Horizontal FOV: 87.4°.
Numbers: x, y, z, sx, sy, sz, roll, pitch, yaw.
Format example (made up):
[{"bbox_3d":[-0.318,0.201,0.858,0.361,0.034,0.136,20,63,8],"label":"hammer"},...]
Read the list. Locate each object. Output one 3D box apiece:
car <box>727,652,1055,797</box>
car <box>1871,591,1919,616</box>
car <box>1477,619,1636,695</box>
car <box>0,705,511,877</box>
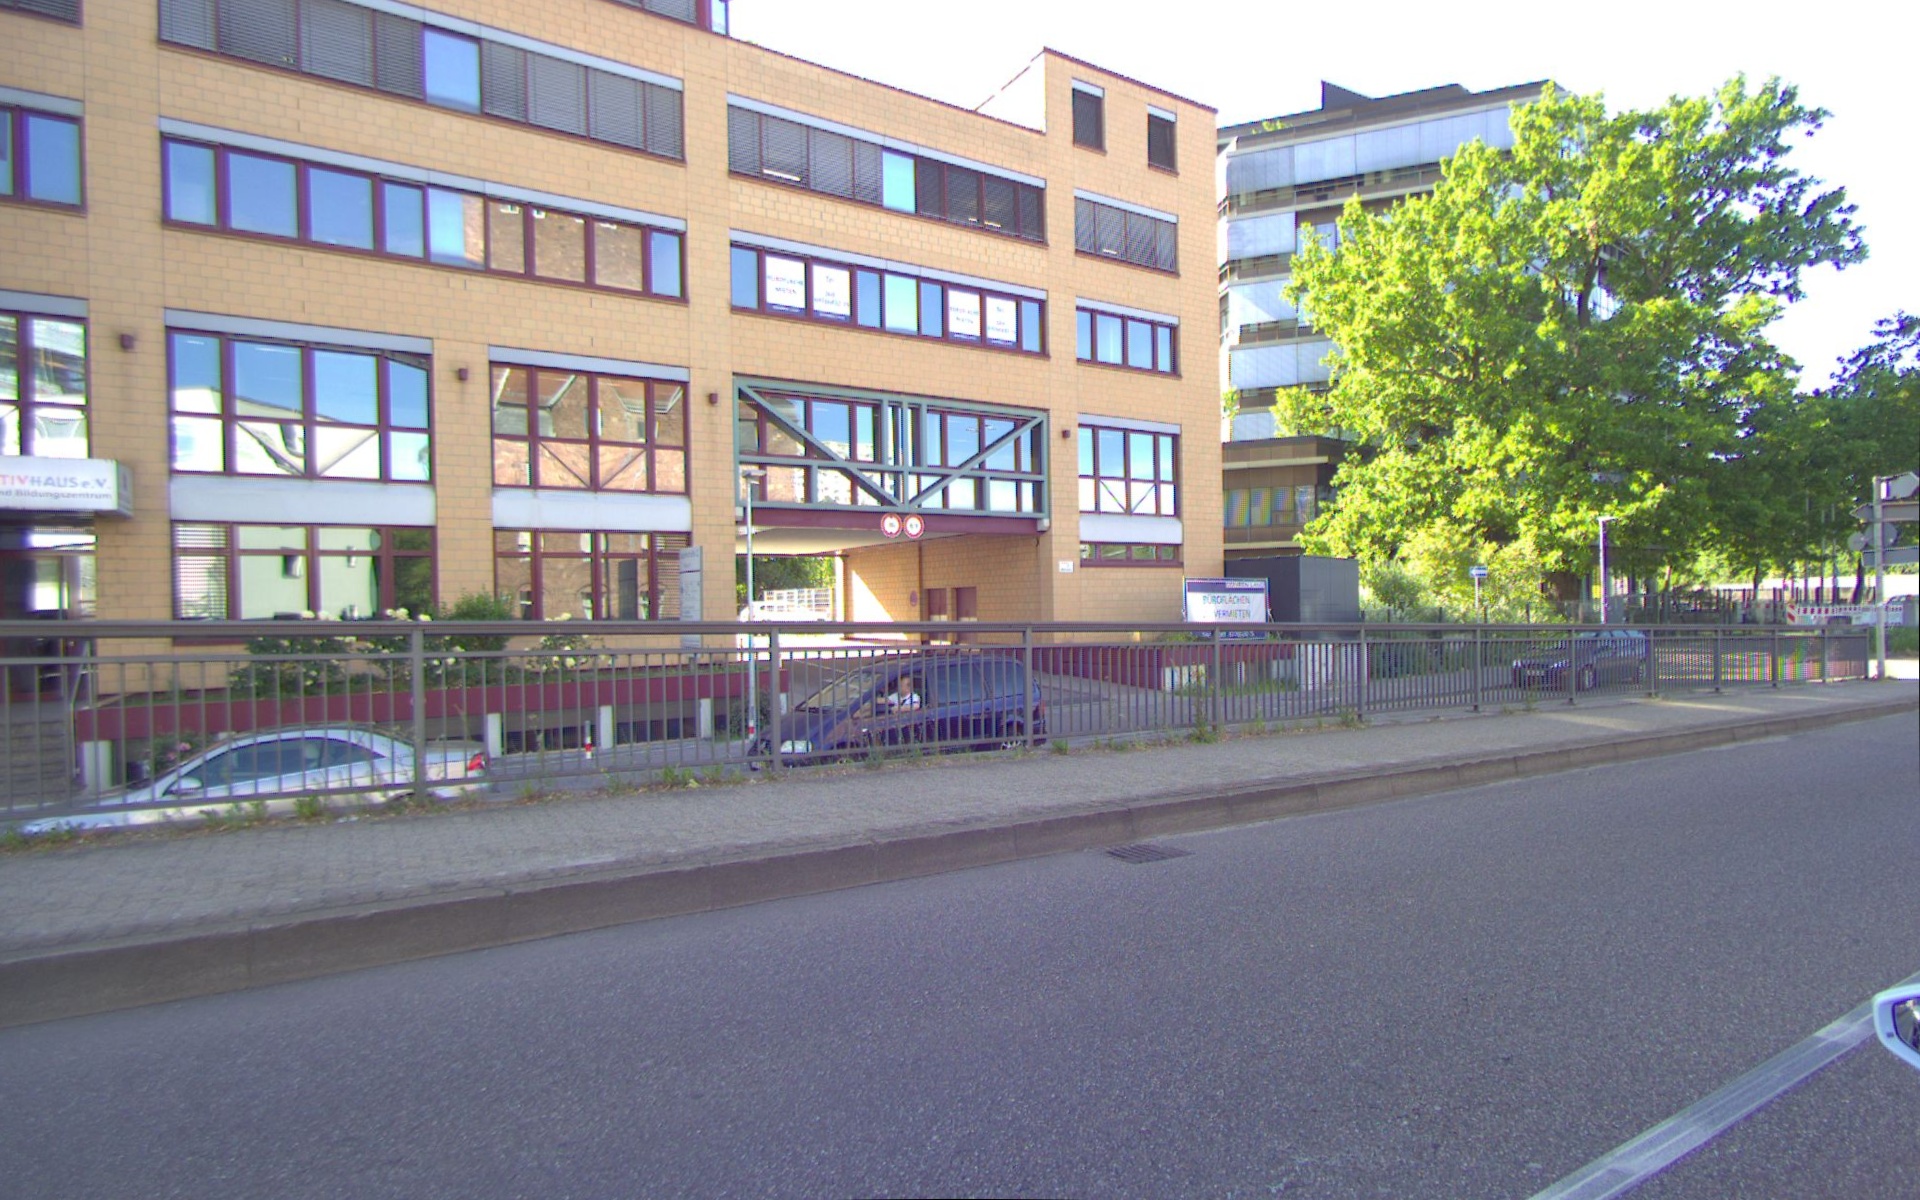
[{"bbox_3d":[-0.896,1.660,14.582,4.541,1.669,1.710,0,-2,-36],"label":"car"},{"bbox_3d":[64.979,0.251,68.330,1.854,1.651,4.410,-1,-1,-2],"label":"car"},{"bbox_3d":[15.317,1.386,25.768,3.953,1.715,1.842,-1,0,-31],"label":"car"},{"bbox_3d":[-7.178,1.881,10.687,4.210,1.181,1.712,0,-2,-32],"label":"car"}]
